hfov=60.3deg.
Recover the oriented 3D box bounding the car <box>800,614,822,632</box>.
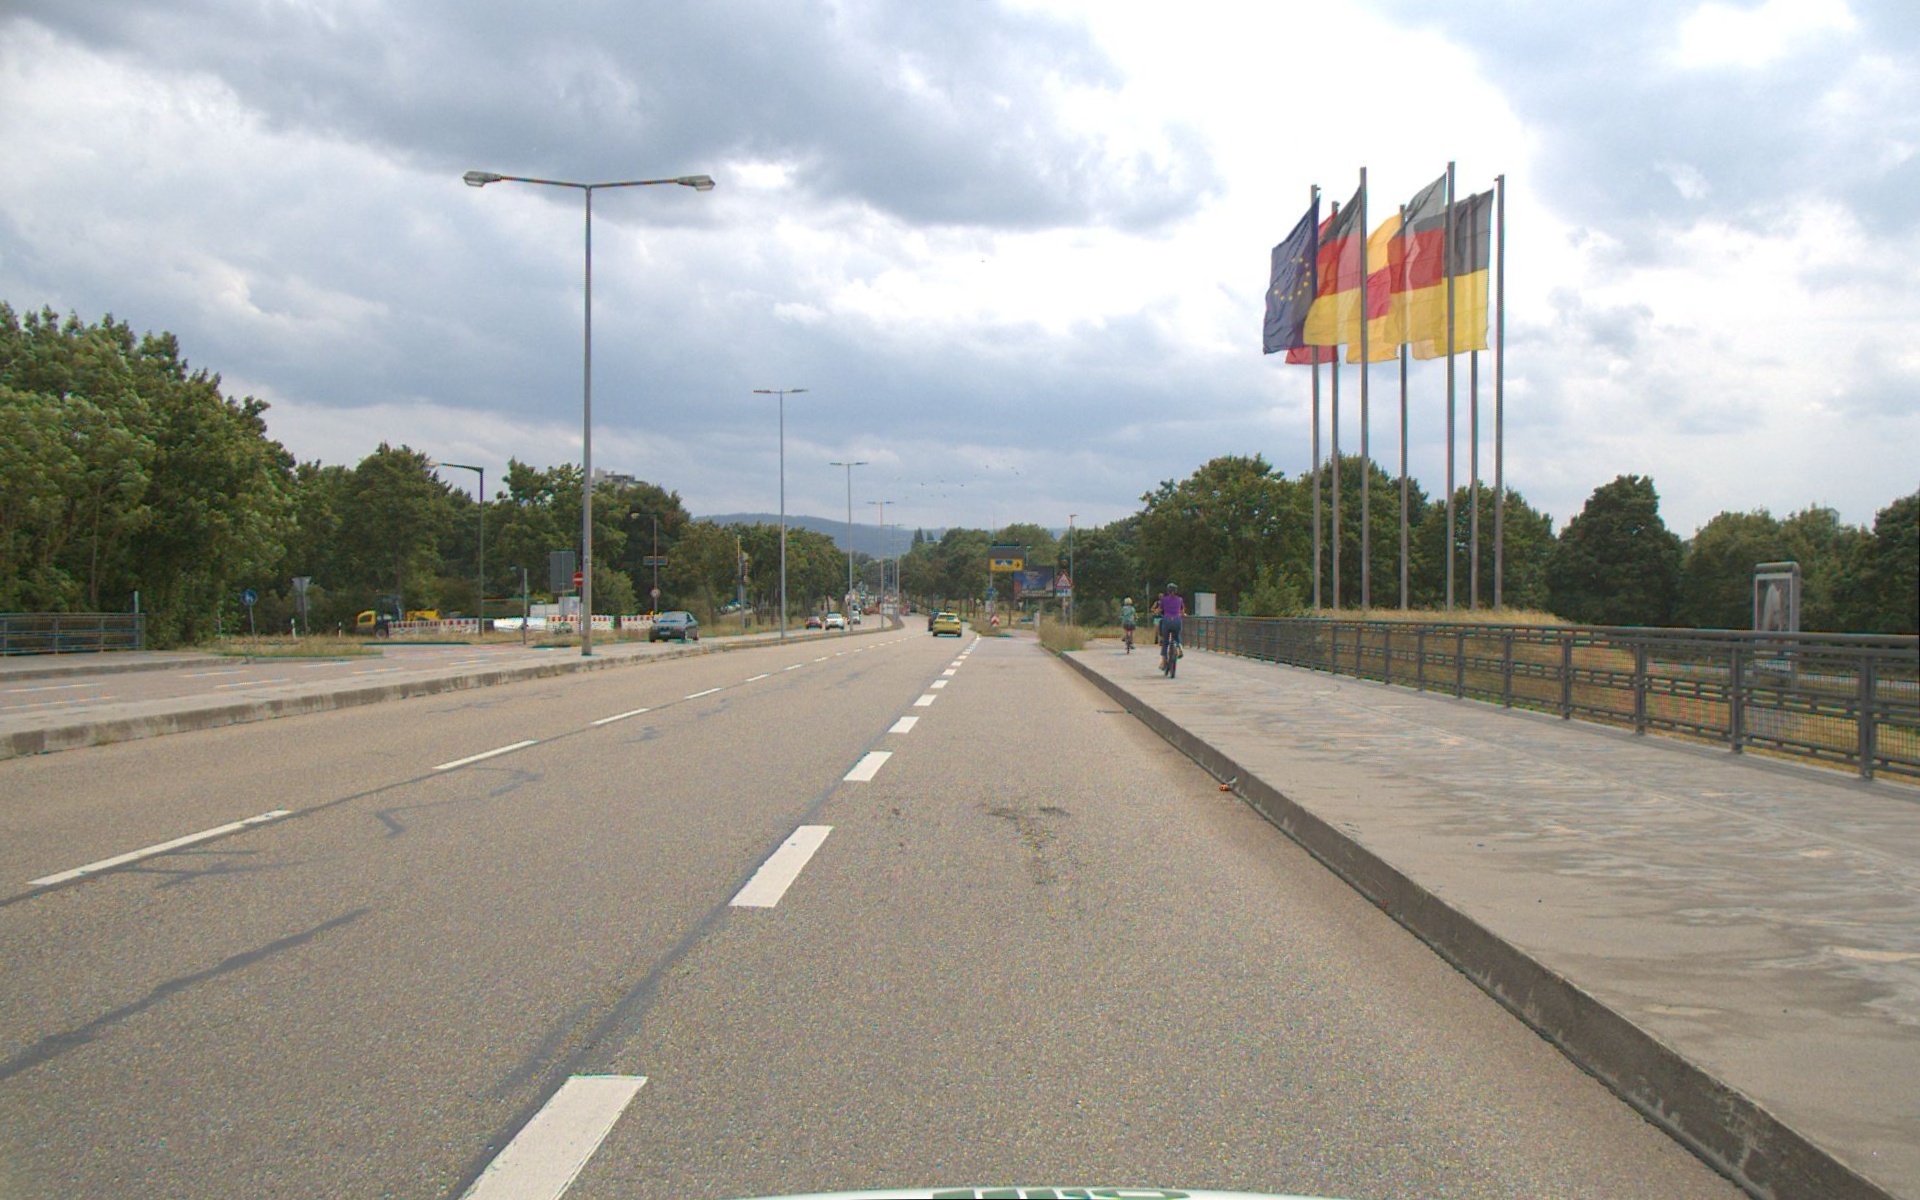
[{"bbox_3d":[-16.799,2.596,186.663,1.953,1.914,4.000,5,-1,1],"label":"car"}]

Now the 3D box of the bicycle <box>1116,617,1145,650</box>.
[{"bbox_3d":[5.089,0.981,49.452,0.610,0.904,2.154,0,1,-1],"label":"bicycle"}]

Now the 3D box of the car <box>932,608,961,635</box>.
[{"bbox_3d":[-0.863,1.316,102.928,1.757,1.589,3.999,0,1,-2],"label":"car"}]

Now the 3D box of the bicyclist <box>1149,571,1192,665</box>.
[{"bbox_3d":[4.081,0.340,32.095,0.689,1.786,0.991,0,0,-1],"label":"bicyclist"}]

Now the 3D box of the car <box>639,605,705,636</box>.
[{"bbox_3d":[-13.580,0.952,78.186,1.951,1.397,4.579,-1,0,4],"label":"car"}]

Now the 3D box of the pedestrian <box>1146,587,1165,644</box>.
[{"bbox_3d":[7.089,0.559,60.051,0.614,2.049,0.668,0,1,1],"label":"pedestrian"}]

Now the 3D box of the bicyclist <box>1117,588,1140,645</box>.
[{"bbox_3d":[5.090,0.482,49.877,0.609,1.695,0.669,0,1,-1],"label":"bicyclist"}]

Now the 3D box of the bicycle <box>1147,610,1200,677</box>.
[{"bbox_3d":[4.128,0.821,32.190,0.679,1.213,2.461,0,0,-1],"label":"bicycle"}]

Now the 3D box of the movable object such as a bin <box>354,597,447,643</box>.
[{"bbox_3d":[-30.287,1.076,89.710,4.495,2.439,1.995,0,1,-10],"label":"movable object such as a bin"}]

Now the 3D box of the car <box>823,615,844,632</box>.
[{"bbox_3d":[-12.828,2.382,167.735,1.659,1.657,4.384,0,1,1],"label":"car"}]
